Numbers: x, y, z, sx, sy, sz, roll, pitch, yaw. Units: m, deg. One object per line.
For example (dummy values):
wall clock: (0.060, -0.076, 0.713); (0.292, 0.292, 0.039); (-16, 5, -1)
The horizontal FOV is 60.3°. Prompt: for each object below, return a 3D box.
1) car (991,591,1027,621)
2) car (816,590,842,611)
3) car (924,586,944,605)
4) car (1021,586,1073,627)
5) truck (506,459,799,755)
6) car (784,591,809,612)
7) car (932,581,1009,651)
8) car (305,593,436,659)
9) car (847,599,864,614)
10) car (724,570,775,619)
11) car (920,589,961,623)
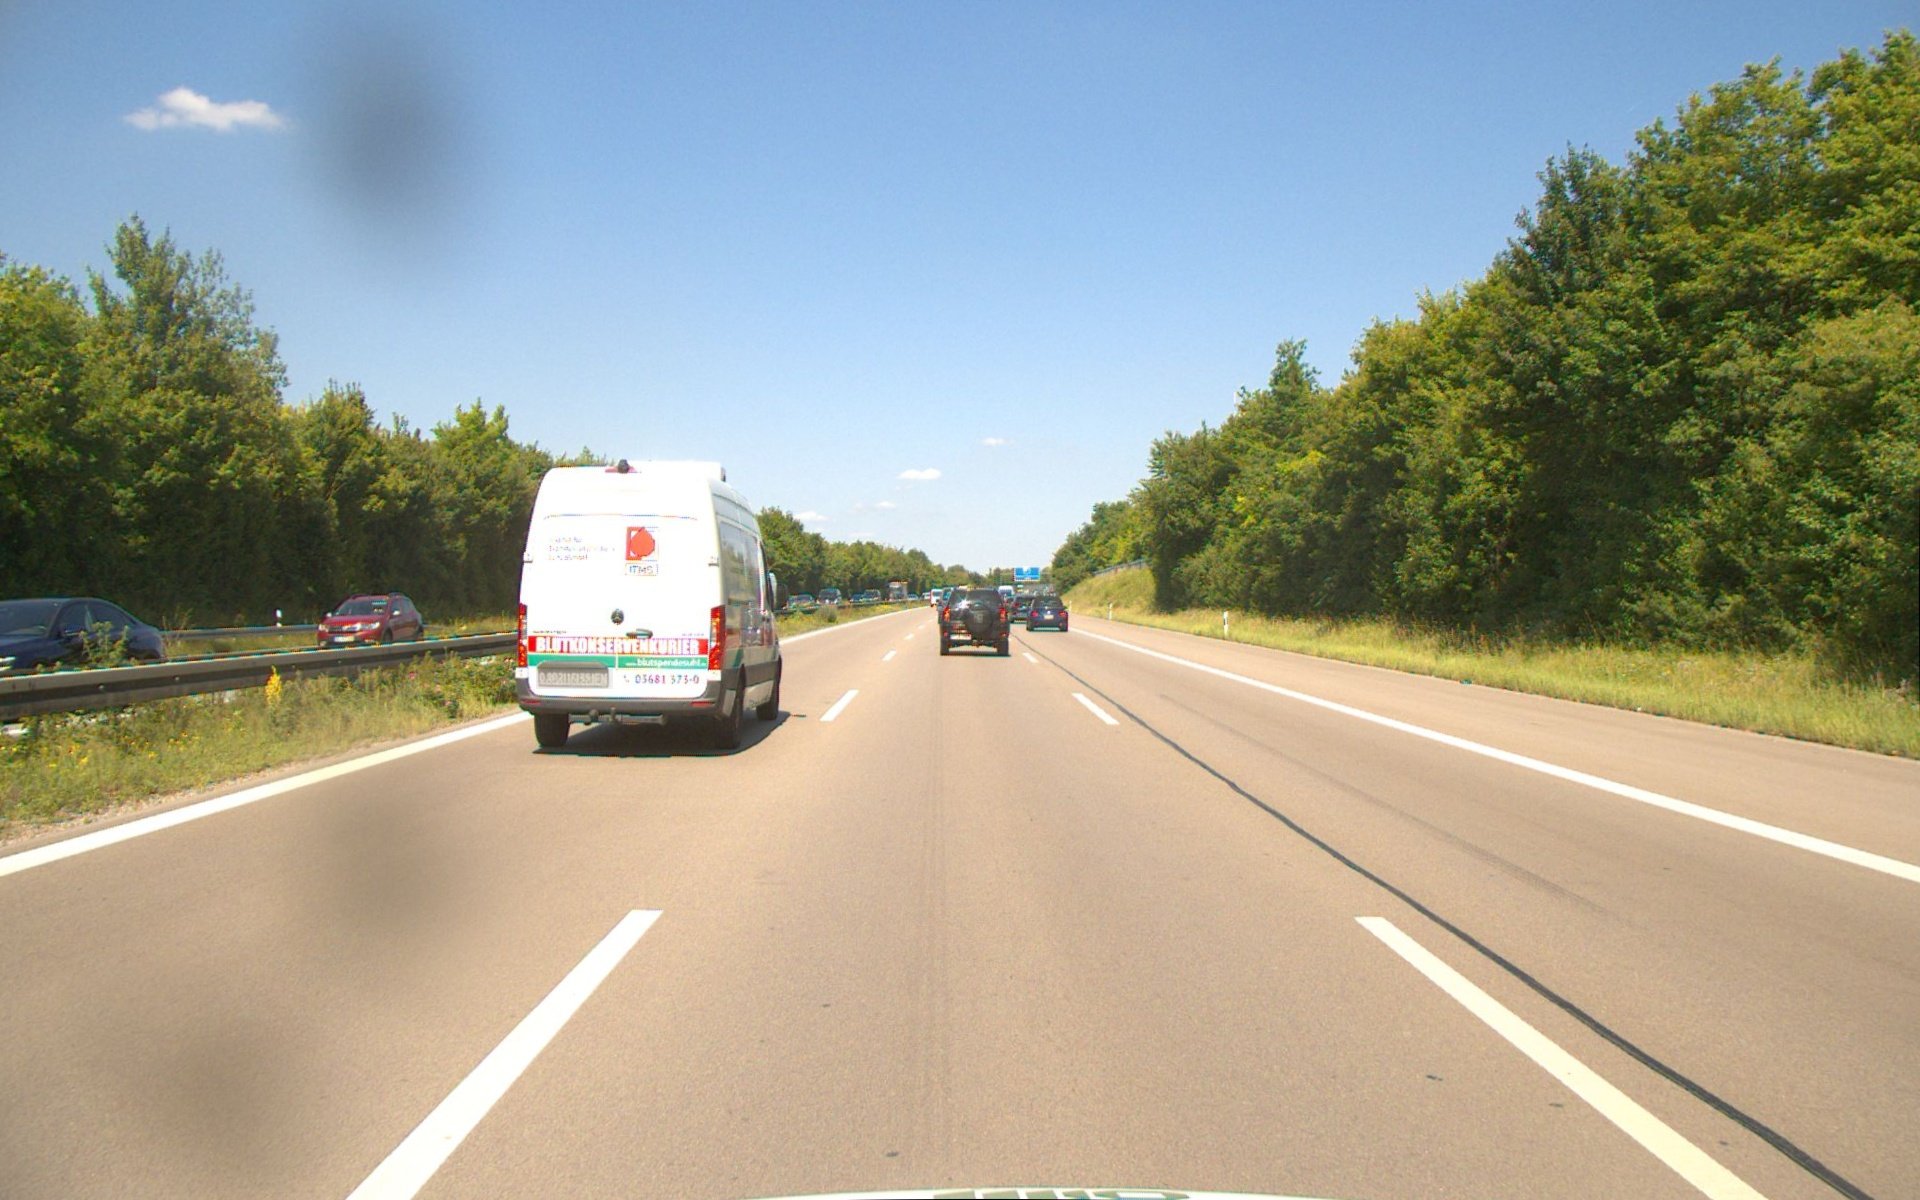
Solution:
car: (2.694, 0.339, 91.858); (1.805, 1.640, 3.999); (0, -1, -1)
car: (-11.272, 0.035, 142.956); (1.867, 1.820, 5.059); (-1, 0, 0)
car: (-3.029, -0.538, 191.342); (1.952, 2.049, 4.951); (-1, 0, 3)
car: (3.753, 0.296, 71.840); (1.953, 1.713, 3.999); (0, -1, -1)
truck: (-3.056, 0.036, 18.048); (1.953, 2.586, 6.691); (1, 0, 0)
car: (-15.238, 0.158, 154.178); (1.953, 1.887, 4.498); (0, -1, 0)
car: (0.227, 0.404, 42.217); (1.868, 1.694, 3.999); (0, -1, -1)
car: (-15.508, 0.678, 43.760); (1.824, 1.658, 4.321); (0, -1, 1)
car: (-13.500, 0.823, 214.177); (1.953, 1.887, 4.498); (0, -1, 0)
car: (-11.665, -0.330, 91.984); (2.028, 2.600, 6.400); (-1, 0, 0)
car: (-1.004, 0.299, 87.234); (1.952, 1.735, 4.337); (-1, 0, 1)
